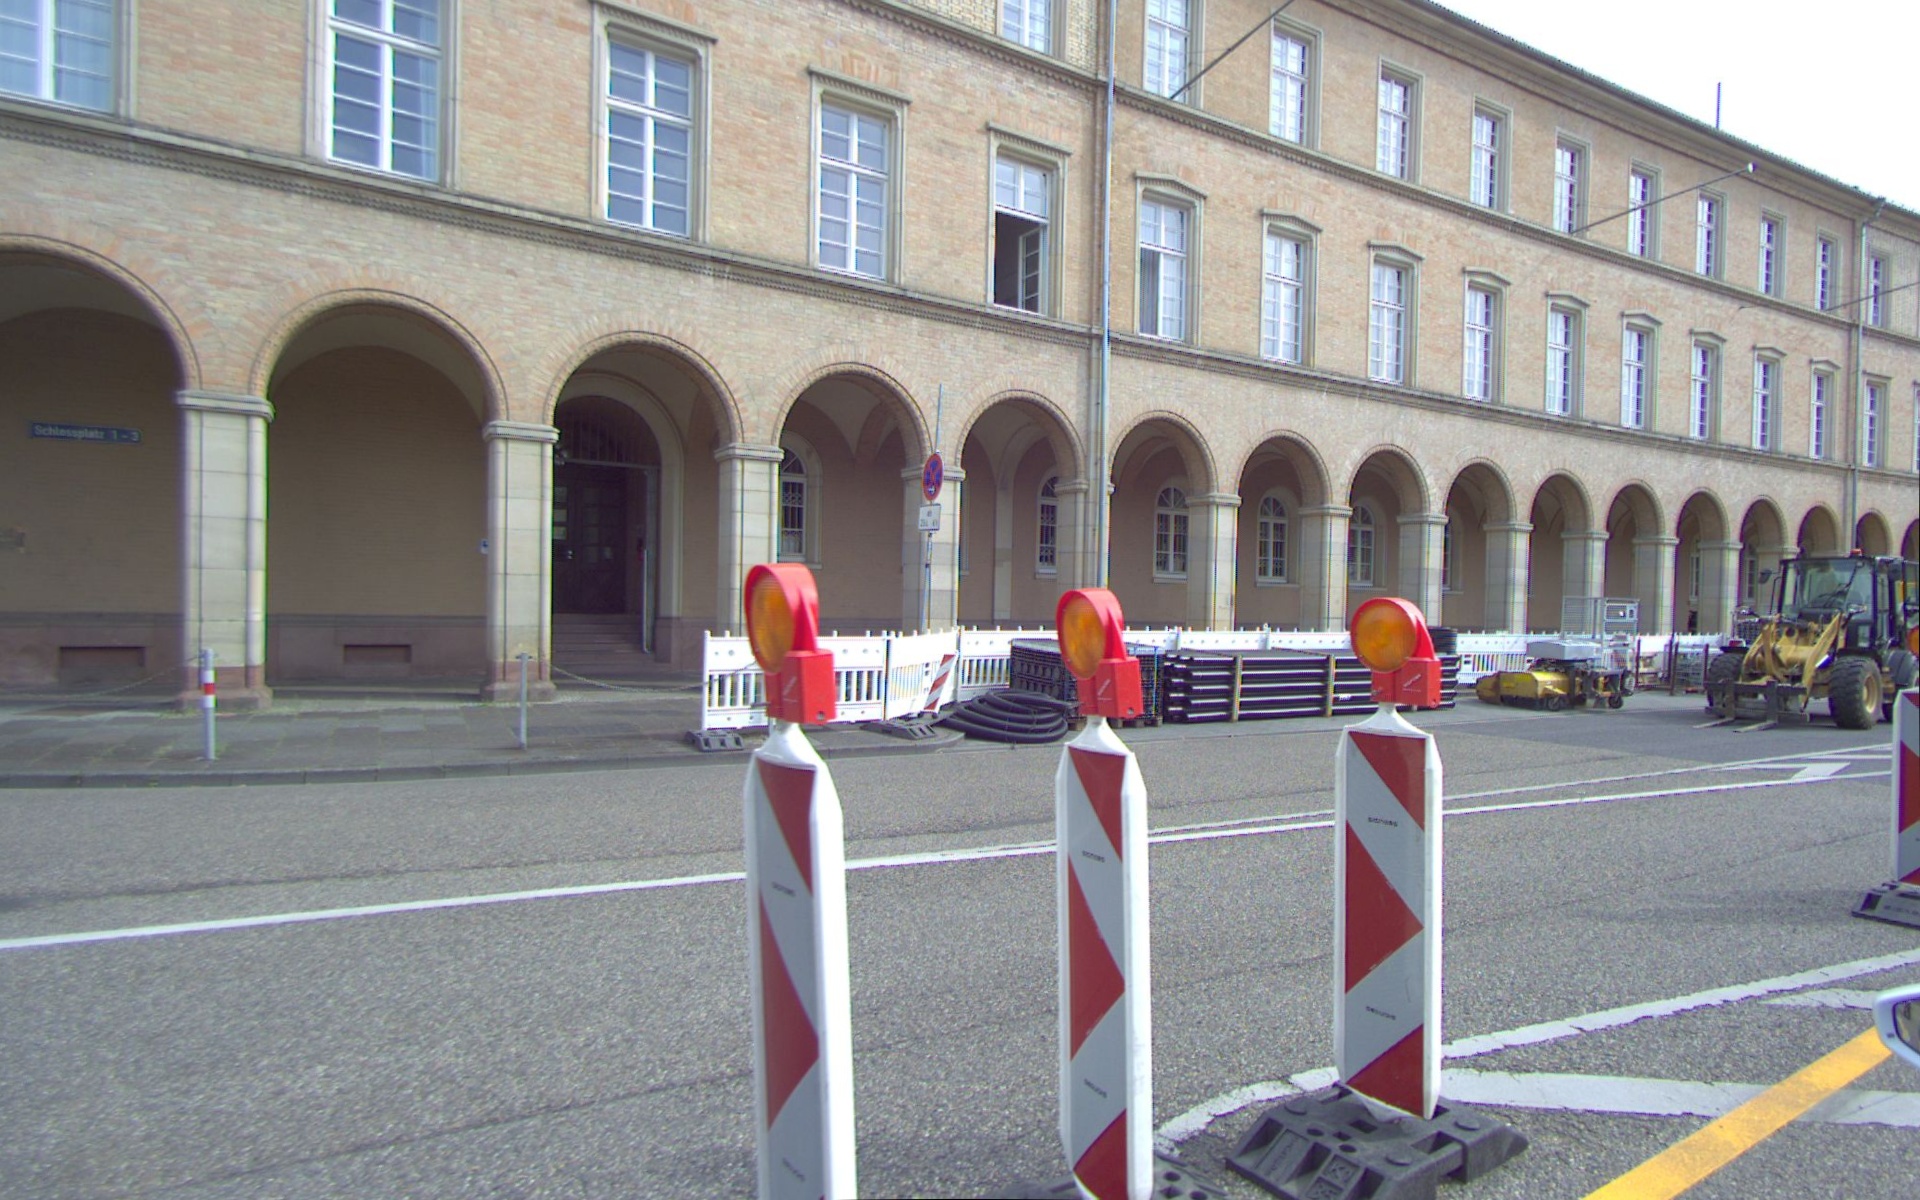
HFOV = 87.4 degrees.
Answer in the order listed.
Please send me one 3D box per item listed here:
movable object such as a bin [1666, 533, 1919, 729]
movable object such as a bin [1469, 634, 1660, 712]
[{"bbox_3d":[13.717,0.490,16.211,4.566,2.754,2.105,2,0,-31],"label":"movable object such as a bin"},{"bbox_3d":[10.694,1.237,17.793,2.714,1.140,1.799,-1,1,-29],"label":"movable object such as a bin"}]
